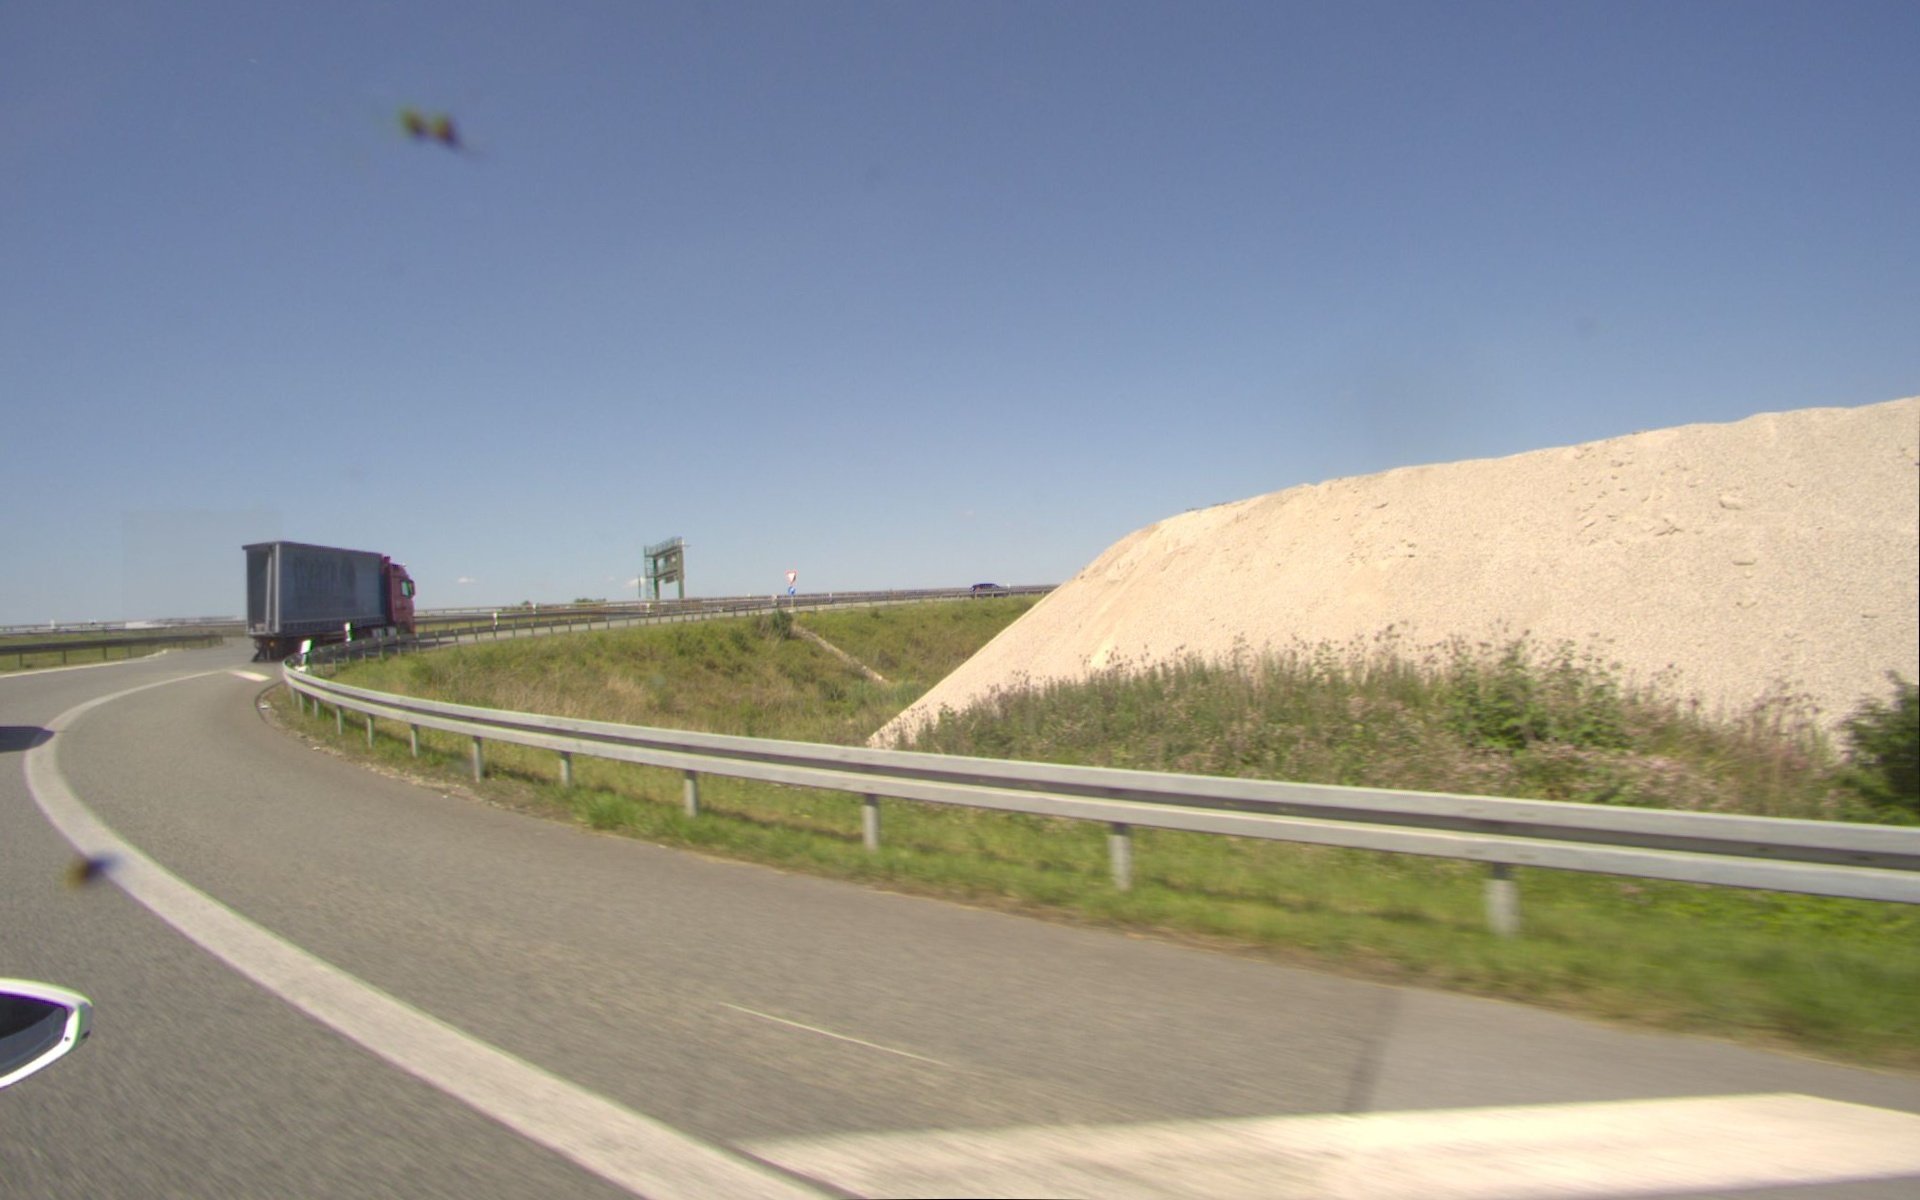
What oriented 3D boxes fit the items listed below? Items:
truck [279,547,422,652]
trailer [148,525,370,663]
[{"bbox_3d":[-26.447,-0.016,43.896,2.867,4.200,6.920,-1,0,-9],"label":"truck"},{"bbox_3d":[-24.768,-0.194,36.302,2.869,4.200,11.239,-1,0,-15],"label":"trailer"}]
